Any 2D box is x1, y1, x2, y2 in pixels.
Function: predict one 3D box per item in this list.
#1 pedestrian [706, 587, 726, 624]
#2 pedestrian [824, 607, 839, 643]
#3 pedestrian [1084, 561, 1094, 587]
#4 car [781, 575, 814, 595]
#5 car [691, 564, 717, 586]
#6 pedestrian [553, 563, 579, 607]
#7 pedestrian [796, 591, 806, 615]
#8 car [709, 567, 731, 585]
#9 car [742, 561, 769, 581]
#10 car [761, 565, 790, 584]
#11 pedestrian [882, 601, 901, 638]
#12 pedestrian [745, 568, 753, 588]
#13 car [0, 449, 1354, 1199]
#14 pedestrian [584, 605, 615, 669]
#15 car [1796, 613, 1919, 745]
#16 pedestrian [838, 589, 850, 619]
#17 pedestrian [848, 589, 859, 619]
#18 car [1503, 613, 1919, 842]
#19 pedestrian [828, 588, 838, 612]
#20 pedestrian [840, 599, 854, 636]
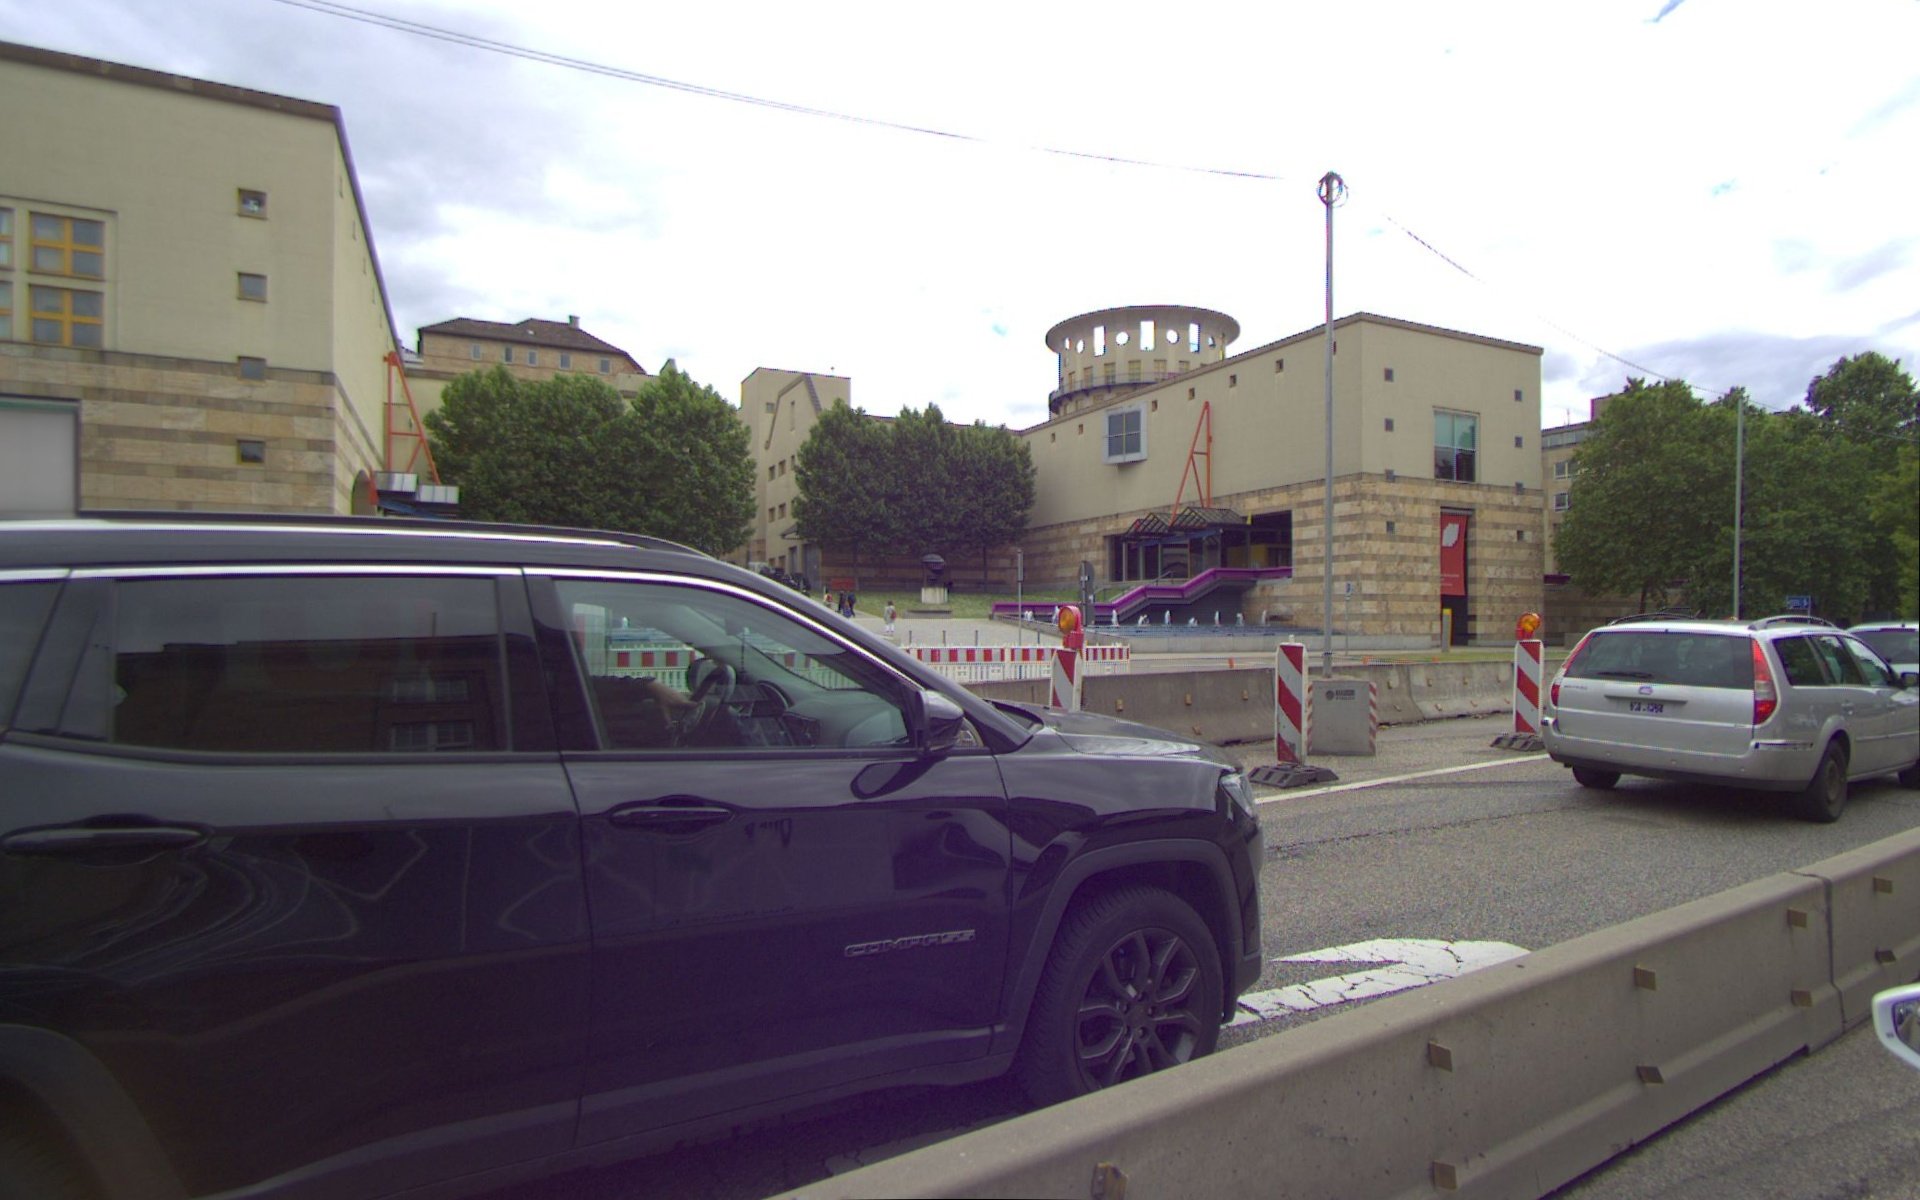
[{"bbox_3d":[-12.654,0.271,52.072,0.793,1.877,0.689,1,1,-26],"label":"pedestrian"},{"bbox_3d":[-6.276,1.234,48.982,0.520,1.717,0.693,1,0,-27],"label":"pedestrian"},{"bbox_3d":[10.408,-2.086,81.038,0.593,2.040,0.410,1,1,-27],"label":"pedestrian"},{"bbox_3d":[-13.606,-1.289,83.853,1.590,1.557,3.781,2,1,-27],"label":"car"},{"bbox_3d":[-22.016,-2.147,86.267,1.588,1.822,3.785,1,0,-23],"label":"car"},{"bbox_3d":[-18.566,-0.704,47.374,1.077,2.040,0.916,1,1,-23],"label":"pedestrian"},{"bbox_3d":[-9.803,0.173,61.855,0.472,1.441,0.402,1,0,-28],"label":"pedestrian"},{"bbox_3d":[-25.810,-2.616,107.904,1.588,1.822,3.785,2,1,-23],"label":"car"},{"bbox_3d":[-19.540,-2.749,95.806,1.590,1.822,3.781,1,1,-27],"label":"car"},{"bbox_3d":[-16.504,-2.267,89.780,1.590,1.557,3.781,2,1,-27],"label":"car"},{"bbox_3d":[-3.218,0.915,47.153,0.690,1.717,0.522,1,0,-30],"label":"pedestrian"},{"bbox_3d":[-18.682,-1.947,88.989,0.535,1.808,0.464,1,0,-24],"label":"pedestrian"},{"bbox_3d":[-0.919,0.620,2.860,4.002,1.642,1.766,2,0,-32],"label":"car"},{"bbox_3d":[-11.797,1.193,32.841,0.804,2.040,0.842,1,1,-27],"label":"pedestrian"},{"bbox_3d":[12.645,0.969,13.139,3.815,1.527,1.661,1,0,-35],"label":"car"},{"bbox_3d":[-7.022,0.242,60.919,0.472,1.772,0.642,1,0,-28],"label":"pedestrian"},{"bbox_3d":[-6.488,0.248,61.115,0.472,1.772,0.642,1,0,-28],"label":"pedestrian"},{"bbox_3d":[6.919,0.907,8.781,4.655,1.501,1.867,1,0,-34],"label":"car"},{"bbox_3d":[-7.793,0.018,61.540,0.472,1.441,0.402,1,0,-28],"label":"pedestrian"},{"bbox_3d":[-5.430,0.840,48.210,0.520,1.717,0.340,1,0,-27],"label":"pedestrian"}]
